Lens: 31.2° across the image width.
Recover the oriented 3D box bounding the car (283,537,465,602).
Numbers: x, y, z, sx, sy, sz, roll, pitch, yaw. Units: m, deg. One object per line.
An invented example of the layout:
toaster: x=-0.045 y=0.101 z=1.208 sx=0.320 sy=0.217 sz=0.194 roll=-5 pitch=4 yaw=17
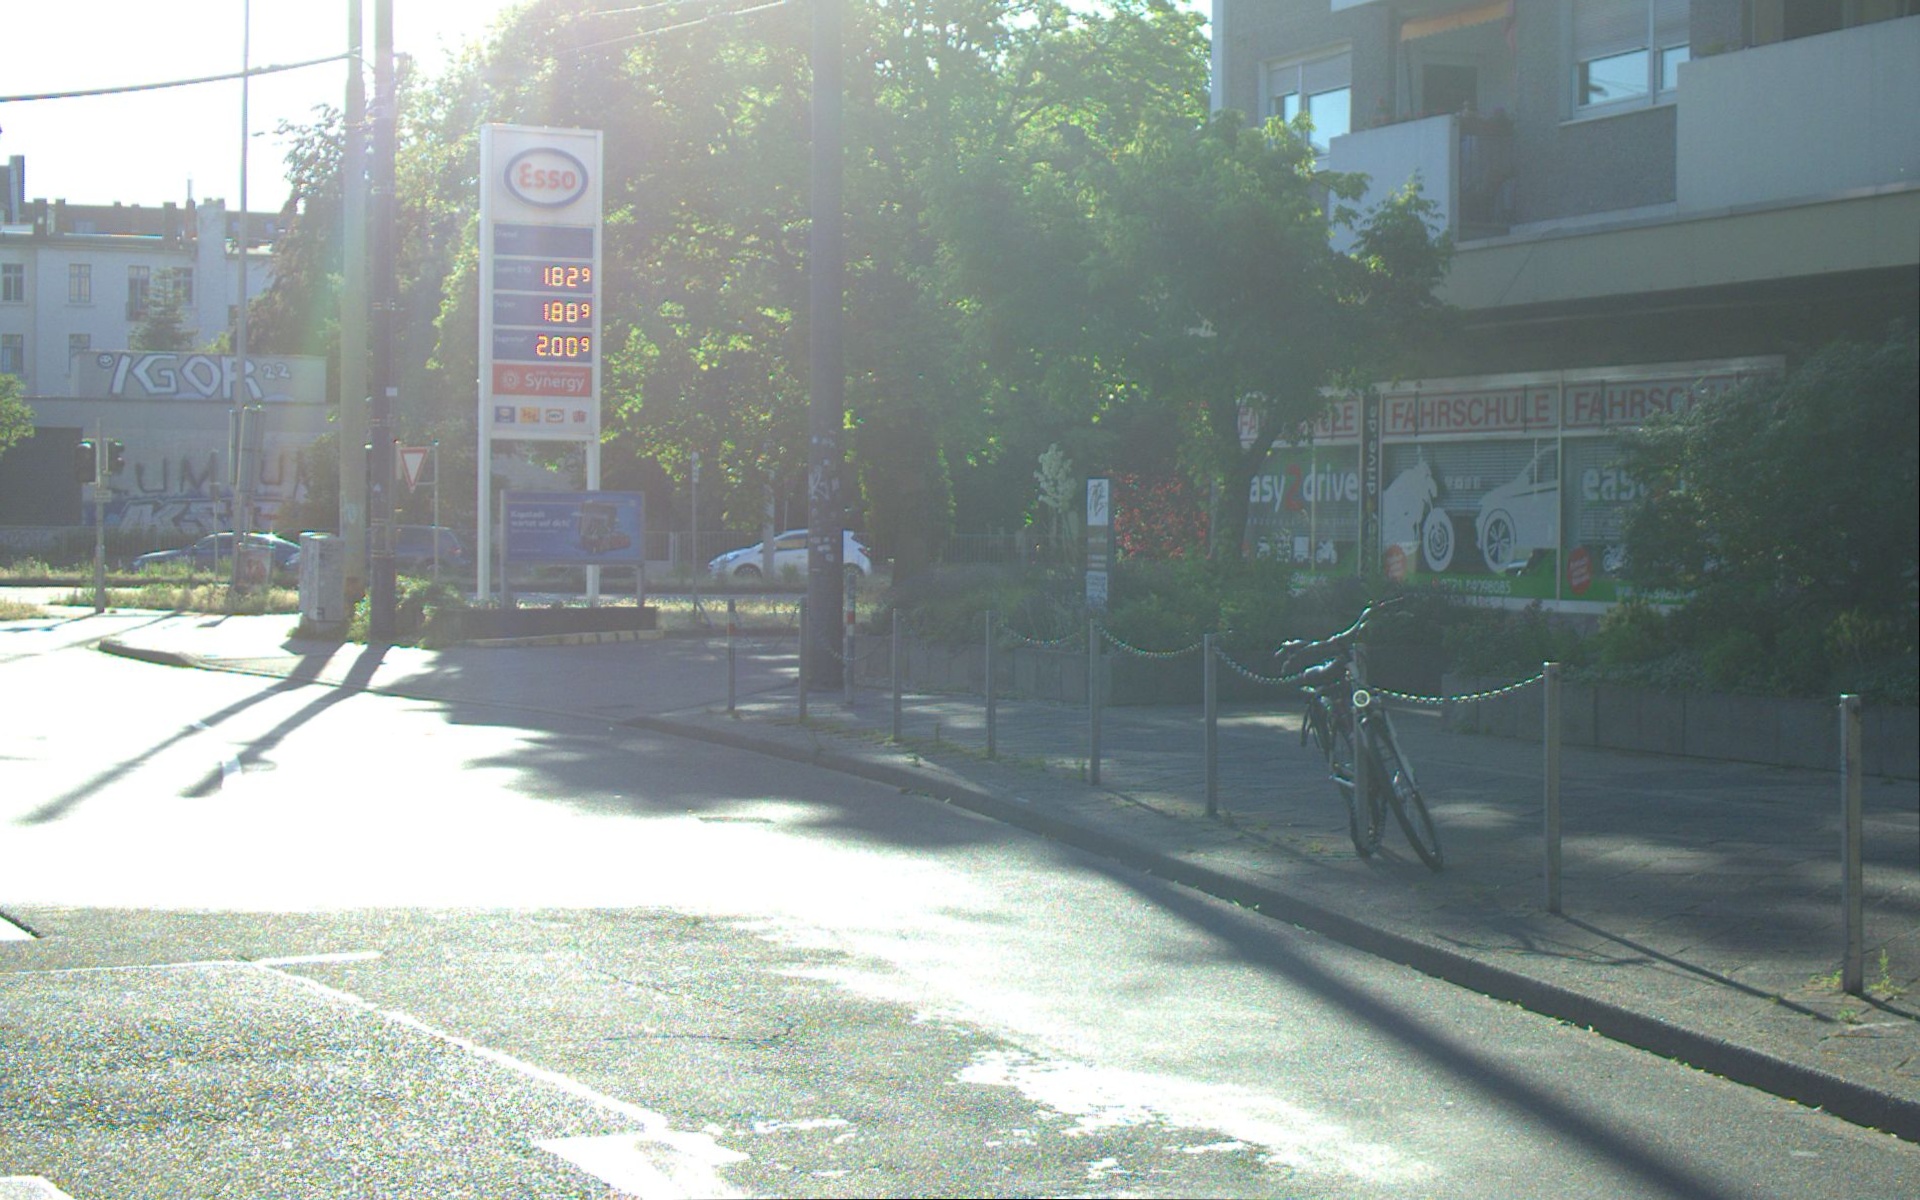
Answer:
car: x=-13.495 y=-0.714 z=79.328 sx=3.986 sy=1.448 sz=1.810 roll=1 pitch=1 yaw=-4

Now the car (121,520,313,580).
car: x=-18.793 y=-1.265 z=87.093 sx=4.475 sy=1.482 sz=1.780 roll=0 pitch=1 yaw=0

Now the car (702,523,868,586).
car: x=-4.299 y=-1.116 z=84.262 sx=3.986 sy=1.502 sz=1.673 roll=1 pitch=1 yaw=-5

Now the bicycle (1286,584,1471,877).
bicycle: x=1.891 y=0.554 z=15.764 sx=0.638 sy=1.222 sz=2.088 roll=0 pitch=1 yaw=2
